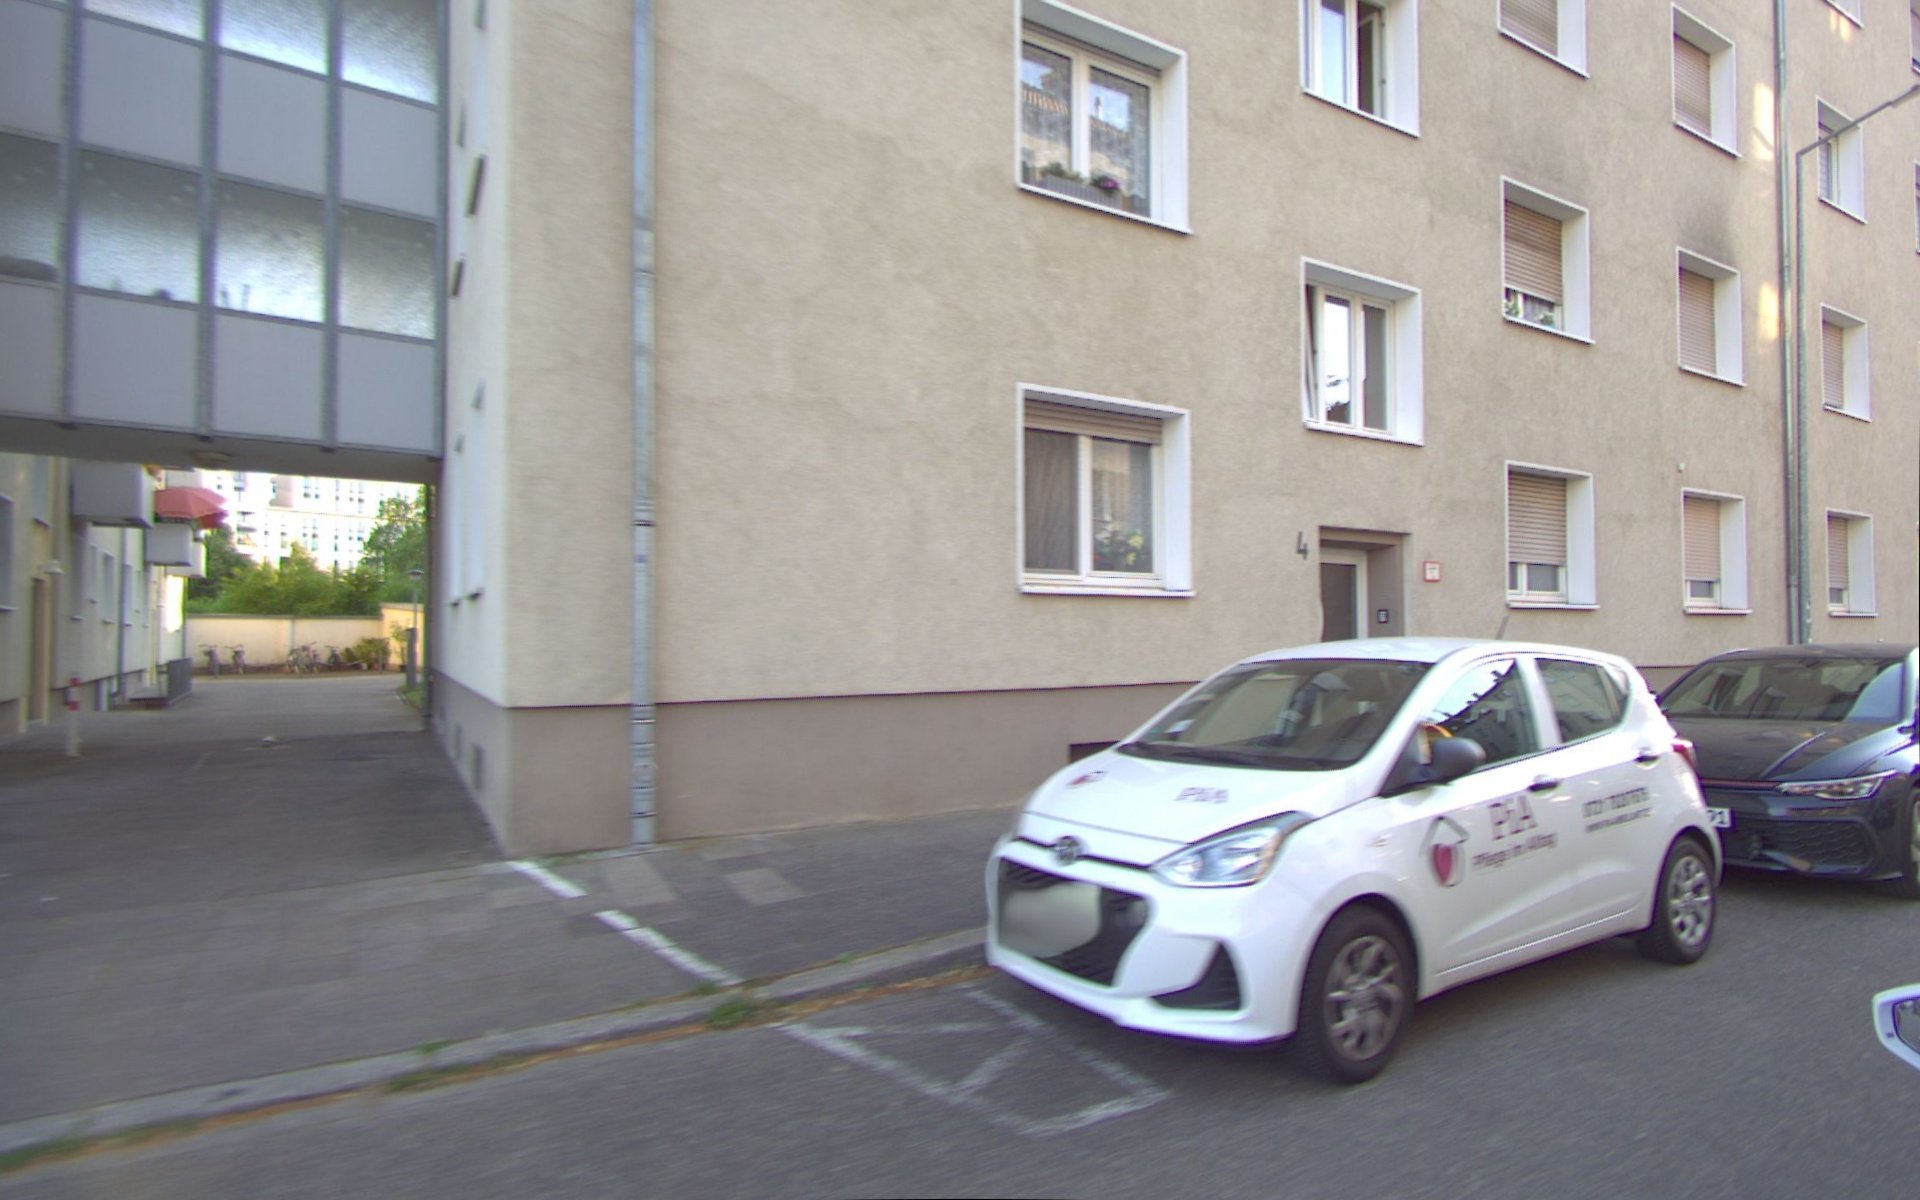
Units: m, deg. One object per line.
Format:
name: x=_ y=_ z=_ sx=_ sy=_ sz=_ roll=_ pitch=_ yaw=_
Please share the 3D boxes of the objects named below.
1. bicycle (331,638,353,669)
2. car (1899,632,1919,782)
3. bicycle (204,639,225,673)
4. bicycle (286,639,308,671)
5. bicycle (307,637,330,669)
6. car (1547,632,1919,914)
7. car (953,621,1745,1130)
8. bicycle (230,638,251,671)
bicycle: x=-25.504 y=2.211 z=41.438 sx=0.515 sy=1.244 sz=1.825 roll=1 pitch=-2 yaw=-41
car: x=11.266 y=1.021 z=10.152 sx=3.754 sy=1.453 sz=1.644 roll=1 pitch=-3 yaw=-32
bicycle: x=-28.297 y=2.117 z=38.112 sx=0.515 sy=1.244 sz=1.825 roll=1 pitch=-2 yaw=-41
bicycle: x=-26.543 y=2.177 z=40.216 sx=0.515 sy=1.244 sz=1.825 roll=1 pitch=-2 yaw=-41
bicycle: x=-25.902 y=2.129 z=40.540 sx=0.515 sy=1.244 sz=1.825 roll=1 pitch=-2 yaw=-41
car: x=6.016 y=0.966 z=6.993 sx=3.986 sy=1.453 sz=1.651 roll=1 pitch=-3 yaw=-32
car: x=1.865 y=0.878 z=4.603 sx=3.466 sy=1.492 sz=1.607 roll=1 pitch=-3 yaw=-32
bicycle: x=-27.788 y=2.100 z=38.784 sx=0.515 sy=1.244 sz=1.825 roll=1 pitch=-2 yaw=-41
